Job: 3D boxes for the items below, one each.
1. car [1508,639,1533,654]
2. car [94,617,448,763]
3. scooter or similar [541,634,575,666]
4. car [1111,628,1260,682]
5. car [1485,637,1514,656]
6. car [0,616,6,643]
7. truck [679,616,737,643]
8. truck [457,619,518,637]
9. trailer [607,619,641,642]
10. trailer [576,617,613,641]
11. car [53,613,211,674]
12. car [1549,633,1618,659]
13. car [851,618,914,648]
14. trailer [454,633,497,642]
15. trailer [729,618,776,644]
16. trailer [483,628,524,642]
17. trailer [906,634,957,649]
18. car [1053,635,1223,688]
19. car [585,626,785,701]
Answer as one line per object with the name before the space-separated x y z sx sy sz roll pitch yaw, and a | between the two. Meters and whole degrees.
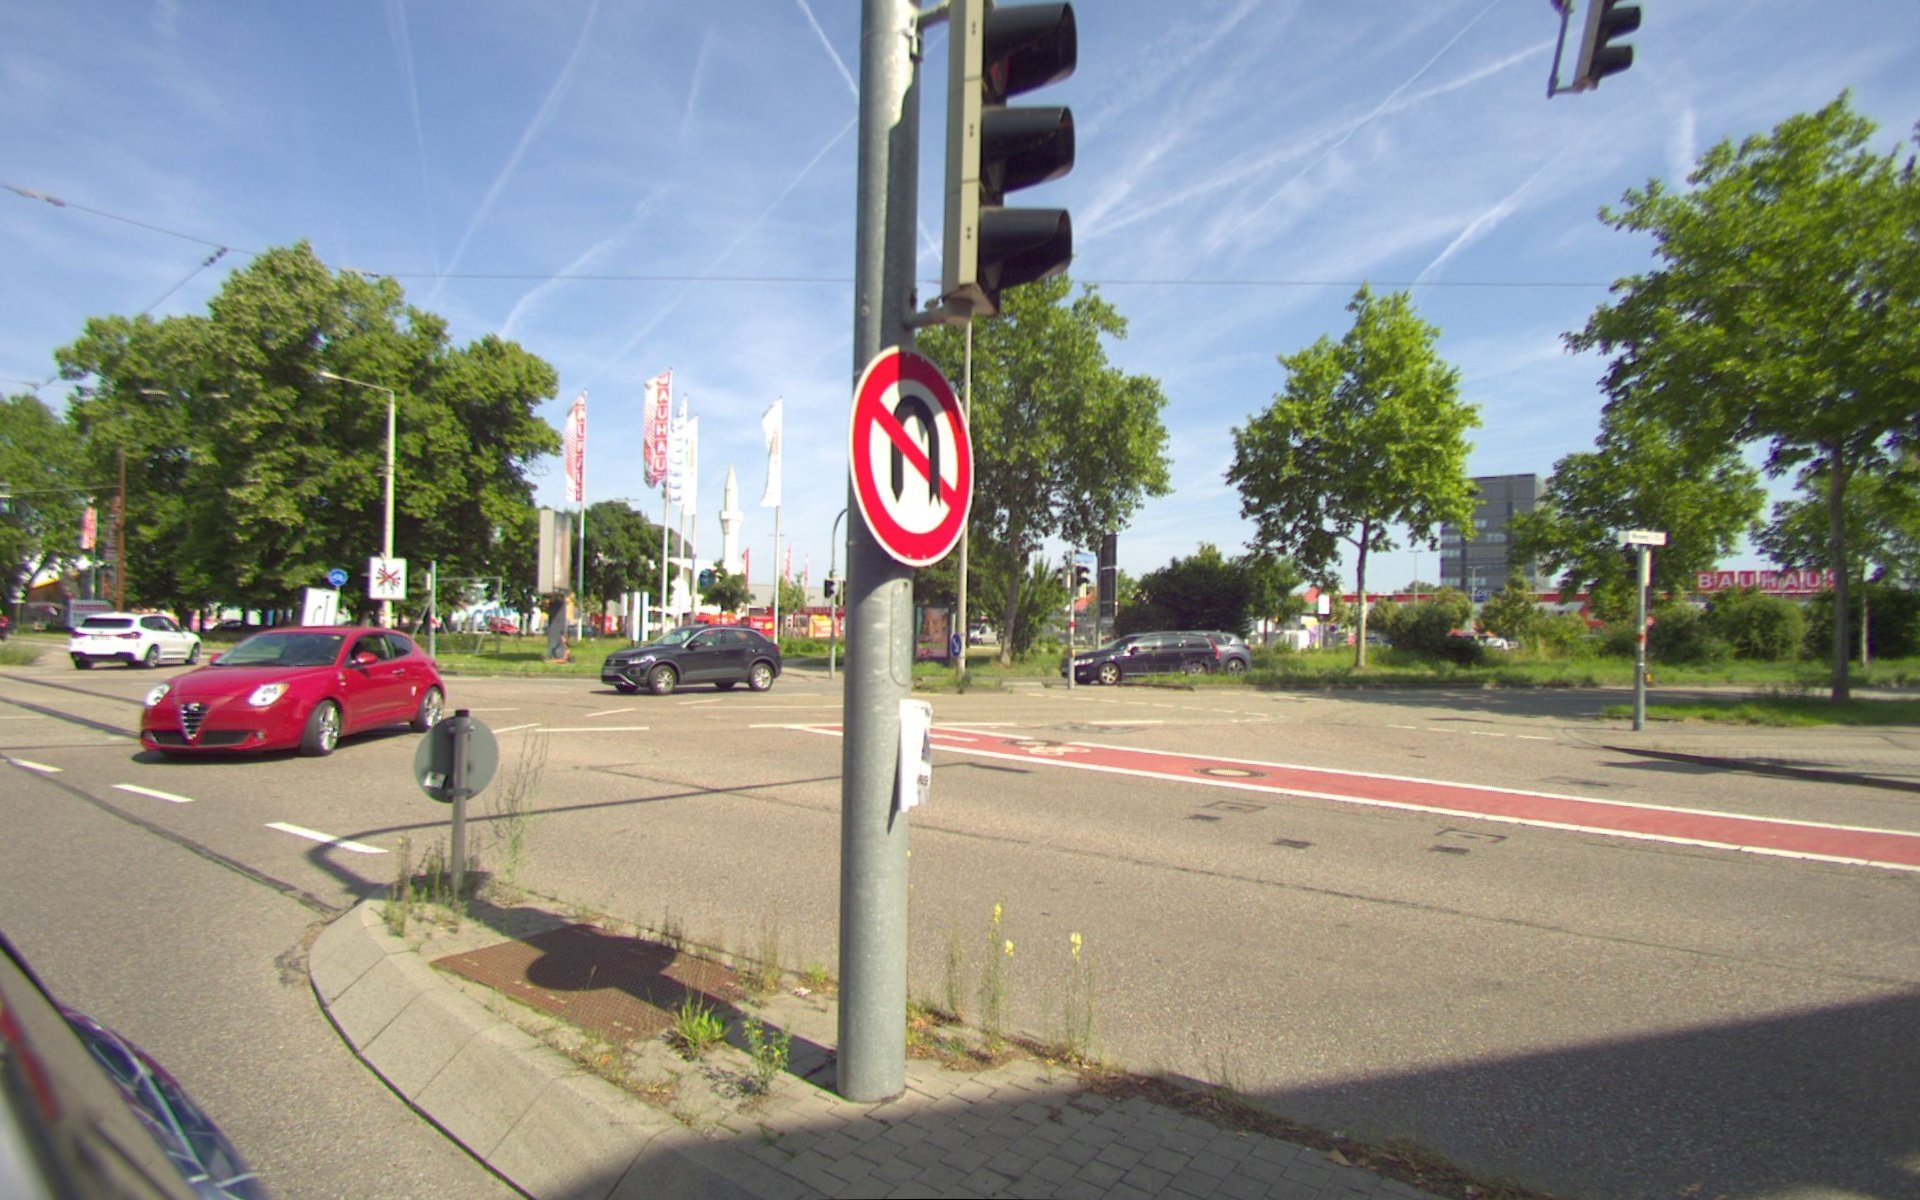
car | 54.161 4.467 97.749 1.687 1.467 3.951 -1 -2 36
car | -7.868 1.018 12.078 1.635 1.449 3.909 0 -4 -2
scooter or similar | -14.469 1.813 36.433 1.104 1.135 0.427 1 -2 -18
car | 7.359 1.803 33.039 4.419 1.672 1.777 1 -4 -18
car | 47.035 4.040 88.213 1.687 1.586 3.951 -1 -2 36
car | -60.082 1.789 61.984 4.373 1.617 1.791 -1 -2 39
truck | -25.711 3.029 103.566 2.014 2.629 5.960 -1 -3 34
truck | -53.136 3.160 113.969 2.184 1.845 5.929 -3 -5 37
trailer | -36.370 3.242 109.510 4.411 2.376 1.529 0 -3 42
trailer | -38.867 3.097 107.488 4.407 2.394 1.570 0 -2 39
car | -25.019 1.288 30.809 1.884 1.702 4.639 1 -2 -14
car | 41.402 3.033 67.221 3.852 1.597 1.828 -1 -2 34
car | -6.918 2.926 90.259 5.675 2.561 1.996 -1 0 35
trailer | -45.506 3.539 94.975 4.409 0.788 2.071 -1 -2 41
trailer | -20.611 3.104 100.724 1.750 2.394 4.352 0 -3 40
trailer | -44.127 3.376 97.805 4.399 1.297 1.573 -1 -2 33
trailer | -2.419 3.573 86.894 4.026 1.131 2.043 -1 0 38
car | 5.105 1.770 29.056 4.499 1.439 1.723 1 -4 -18
car | -6.236 1.414 23.202 4.019 1.557 1.877 2 -3 -43
